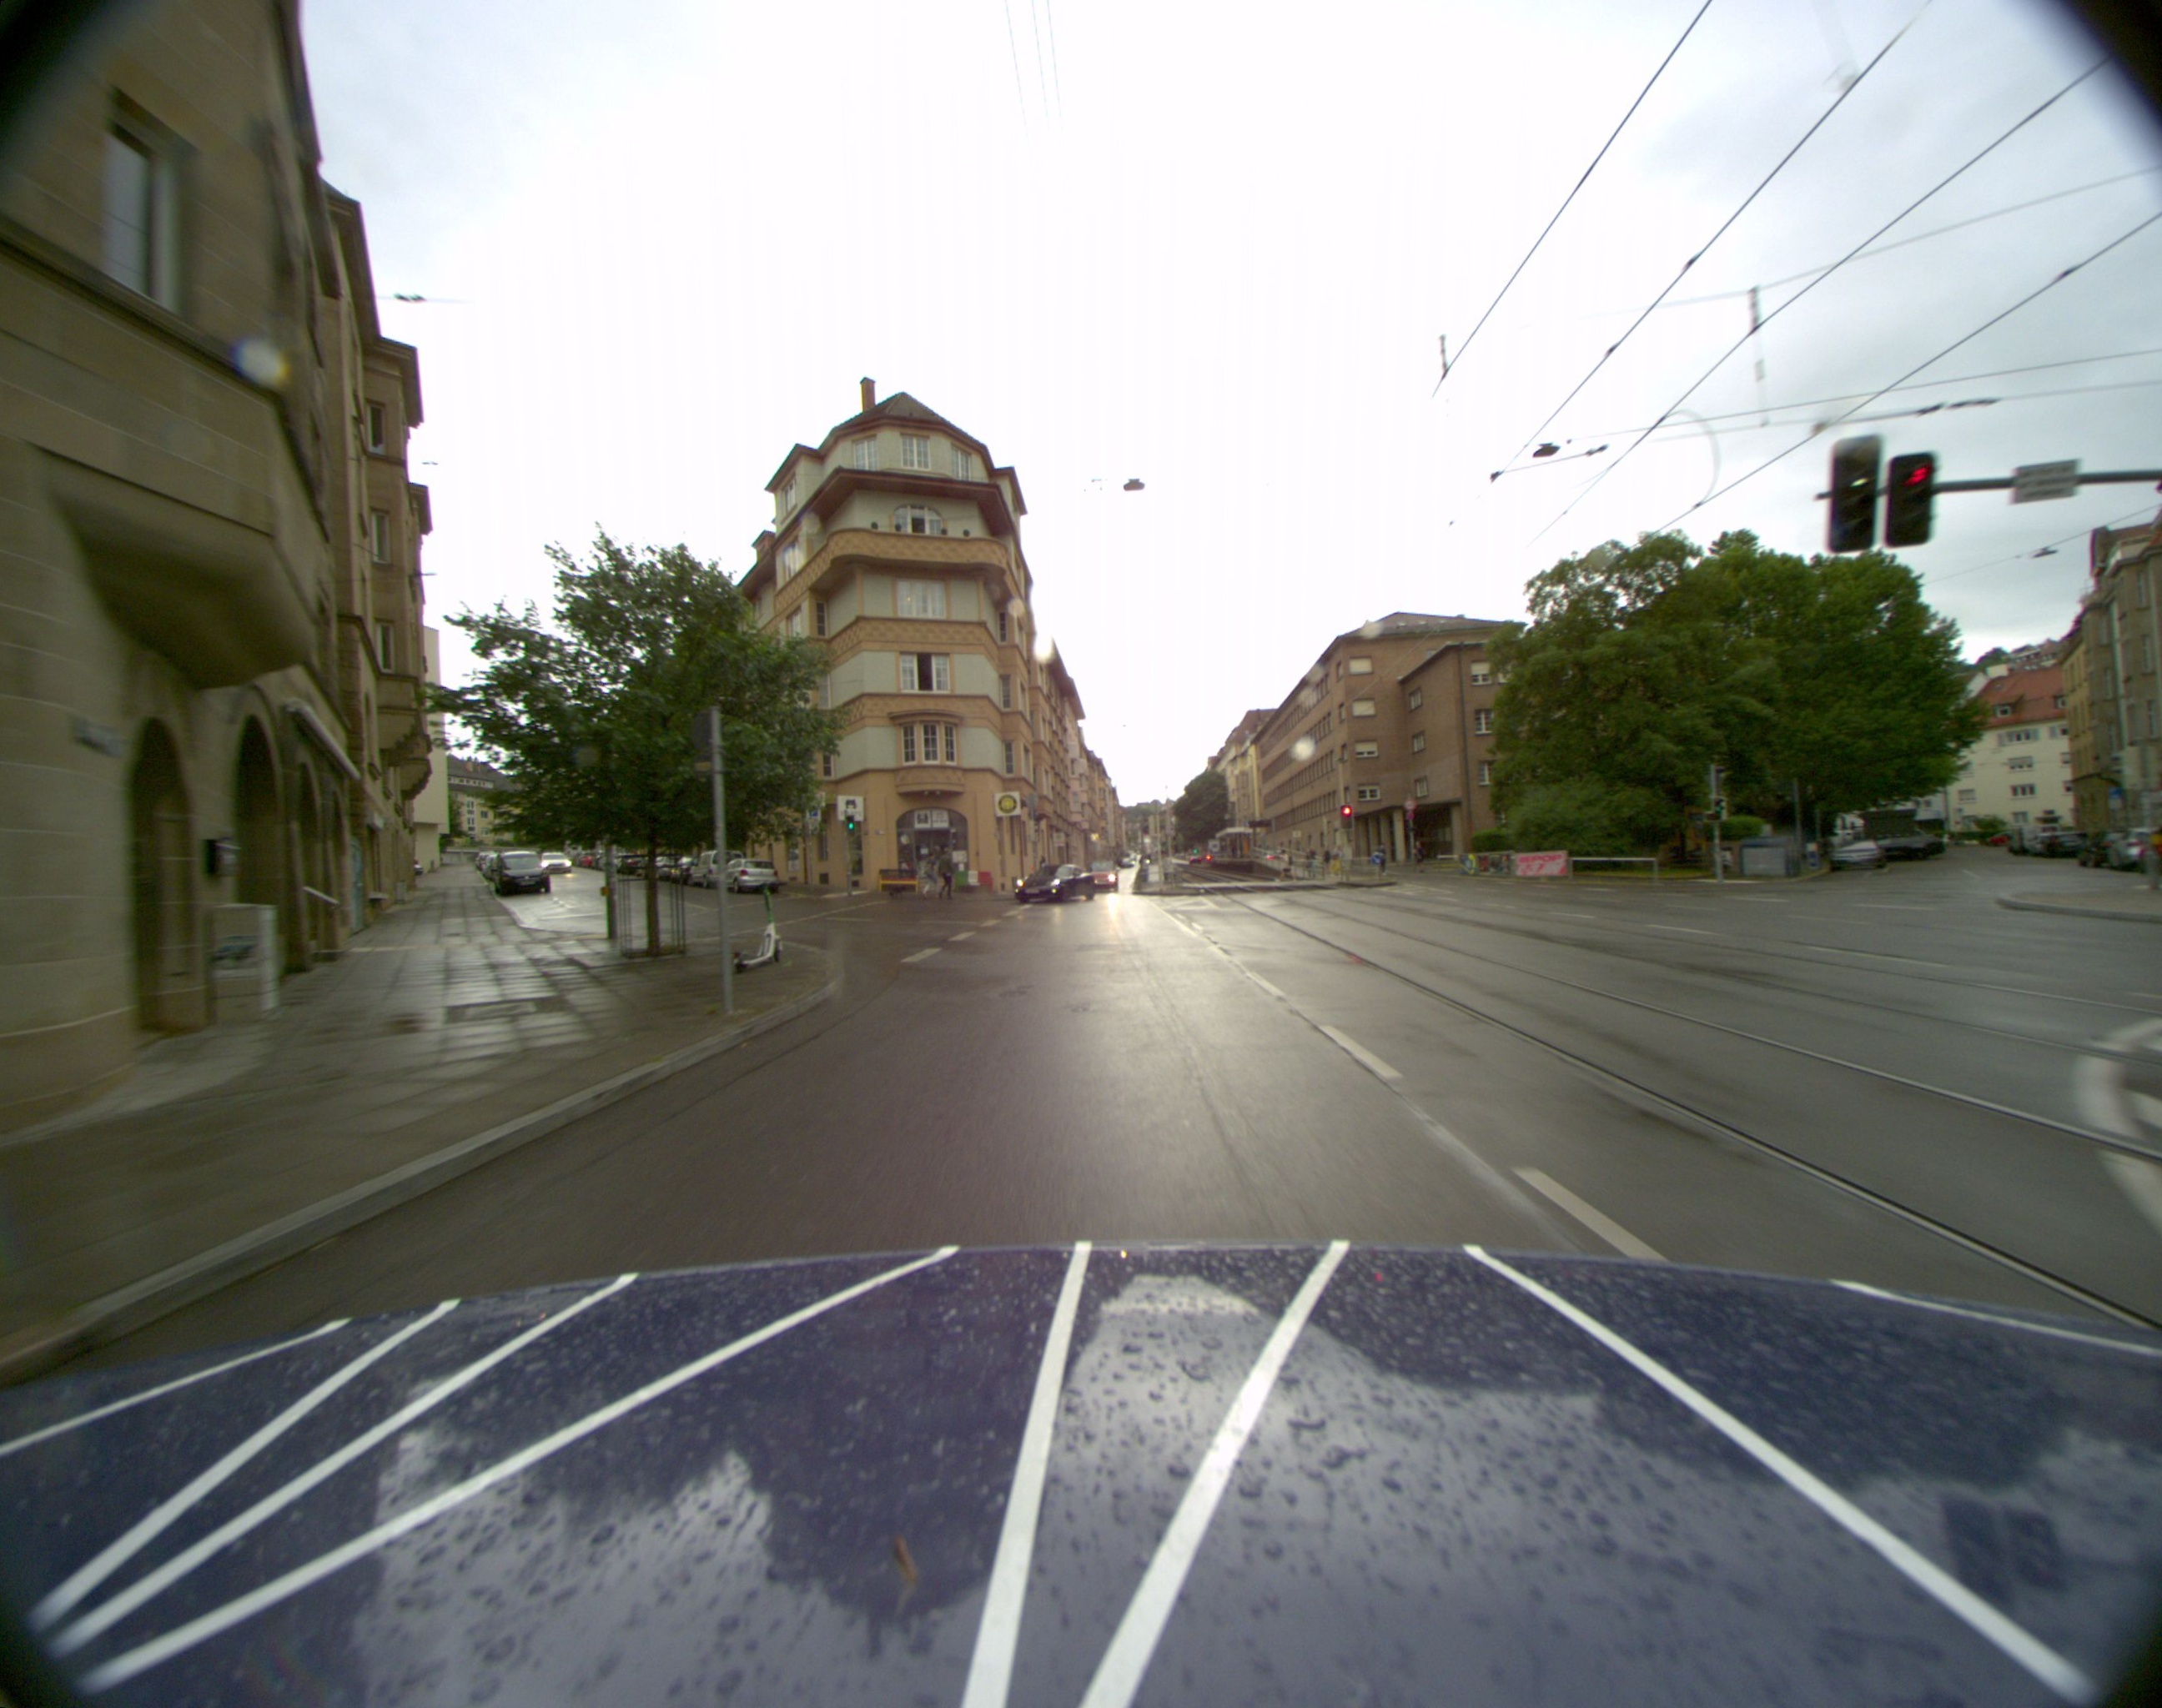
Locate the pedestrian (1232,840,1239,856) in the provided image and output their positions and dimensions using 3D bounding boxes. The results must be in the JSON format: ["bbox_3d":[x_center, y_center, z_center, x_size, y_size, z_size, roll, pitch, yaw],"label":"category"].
[{"bbox_3d":[16.135,-0.644,79.335,0.588,1.699,0.491,-1,0,4],"label":"pedestrian"}]

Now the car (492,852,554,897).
[{"bbox_3d":[-24.617,0.828,33.444,1.749,1.716,4.344,-6,4,-40],"label":"car"}]

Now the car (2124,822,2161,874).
[{"bbox_3d":[31.008,-0.216,21.196,4.008,1.395,1.737,-2,0,-43],"label":"car"}]

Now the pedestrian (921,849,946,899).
[{"bbox_3d":[-5.295,0.712,27.296,0.683,1.778,0.902,-1,1,1],"label":"pedestrian"}]

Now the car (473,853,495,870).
[{"bbox_3d":[-75.033,0.970,95.570,2.004,2.002,3.990,-1,0,-36],"label":"car"}]

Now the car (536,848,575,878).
[{"bbox_3d":[-37.384,0.620,54.023,1.749,1.862,3.989,-8,5,-39],"label":"car"}]

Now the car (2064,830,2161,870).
[{"bbox_3d":[39.348,-0.170,29.036,4.152,1.395,1.737,-2,0,-43],"label":"car"}]

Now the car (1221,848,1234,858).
[{"bbox_3d":[22.172,-0.200,115.423,1.648,1.457,3.112,-3,0,6],"label":"car"}]

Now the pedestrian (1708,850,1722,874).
[{"bbox_3d":[28.464,0.346,34.093,0.417,1.078,0.283,-1,1,29],"label":"pedestrian"}]

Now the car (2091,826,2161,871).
[{"bbox_3d":[34.940,-0.218,24.906,4.176,1.395,1.737,-2,0,-43],"label":"car"}]

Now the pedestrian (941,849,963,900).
[{"bbox_3d":[-4.622,0.725,27.232,0.595,1.778,0.891,-1,1,1],"label":"pedestrian"}]

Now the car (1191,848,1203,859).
[{"bbox_3d":[20.797,-0.086,136.374,1.998,2.002,4.001,-1,0,5],"label":"car"}]

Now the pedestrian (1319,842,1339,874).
[{"bbox_3d":[13.288,0.215,40.706,0.745,1.686,0.883,-4,1,3],"label":"pedestrian"}]

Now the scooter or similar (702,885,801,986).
[{"bbox_3d":[-4.450,1.059,10.387,0.639,1.203,1.553,-1,0,0],"label":"scooter or similar"}]

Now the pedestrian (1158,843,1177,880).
[{"bbox_3d":[4.810,0.407,42.190,0.899,2.002,0.948,-3,0,5],"label":"pedestrian"}]

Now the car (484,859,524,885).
[{"bbox_3d":[-35.175,1.087,46.290,1.750,1.501,3.989,-1,0,-39],"label":"car"}]

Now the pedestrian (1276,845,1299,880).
[{"bbox_3d":[9.677,0.398,35.631,0.695,1.573,0.955,-2,0,-10],"label":"pedestrian"}]

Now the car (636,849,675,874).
[{"bbox_3d":[-26.568,0.487,47.397,1.449,1.417,3.290,-5,3,-40],"label":"car"}]

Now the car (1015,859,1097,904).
[{"bbox_3d":[-0.806,0.926,27.138,1.702,1.280,4.199,1,2,16],"label":"car"}]

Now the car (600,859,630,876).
[{"bbox_3d":[-35.846,1.028,58.445,1.449,1.166,3.275,-5,3,-40],"label":"car"}]

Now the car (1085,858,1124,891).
[{"bbox_3d":[1.187,0.975,36.948,1.689,1.451,3.300,-1,0,5],"label":"car"}]

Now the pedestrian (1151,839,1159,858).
[{"bbox_3d":[7.030,-0.551,71.845,0.645,1.764,0.711,-3,0,5],"label":"pedestrian"}]

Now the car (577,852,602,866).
[{"bbox_3d":[-45.326,0.461,70.048,1.449,1.166,3.275,-5,3,-40],"label":"car"}]

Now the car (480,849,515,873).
[{"bbox_3d":[-41.919,0.481,54.578,1.749,1.501,3.989,-8,4,-39],"label":"car"}]

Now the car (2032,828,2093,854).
[{"bbox_3d":[56.531,-0.745,43.830,4.008,1.395,1.737,-2,0,-43],"label":"car"}]

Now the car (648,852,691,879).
[{"bbox_3d":[-23.631,0.639,43.554,1.449,1.417,3.290,-5,3,-40],"label":"car"}]

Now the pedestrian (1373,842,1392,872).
[{"bbox_3d":[16.533,0.150,41.691,0.766,1.640,0.649,-1,1,4],"label":"pedestrian"}]

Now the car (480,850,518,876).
[{"bbox_3d":[-38.844,0.616,50.701,1.749,1.501,3.989,-8,4,-39],"label":"car"}]

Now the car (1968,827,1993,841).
[{"bbox_3d":[94.042,-2.124,79.441,3.708,1.395,1.567,-2,0,-39],"label":"car"}]

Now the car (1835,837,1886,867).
[{"bbox_3d":[39.049,-0.109,38.044,4.008,1.395,1.737,-2,0,-43],"label":"car"}]

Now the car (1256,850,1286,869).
[{"bbox_3d":[17.793,0.514,71.366,1.998,1.618,5.254,0,1,5],"label":"car"}]

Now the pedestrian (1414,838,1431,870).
[{"bbox_3d":[18.264,-0.003,40.657,0.605,1.665,0.689,-1,0,2],"label":"pedestrian"}]

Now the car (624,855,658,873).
[{"bbox_3d":[-29.816,0.685,51.466,1.449,1.119,3.069,-5,3,-40],"label":"car"}]

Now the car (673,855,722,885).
[{"bbox_3d":[-19.614,0.797,38.816,1.449,1.417,3.290,-3,1,-40],"label":"car"}]

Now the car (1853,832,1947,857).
[{"bbox_3d":[52.016,-0.603,48.312,1.746,1.469,3.989,-2,0,-41],"label":"car"}]

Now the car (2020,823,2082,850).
[{"bbox_3d":[60.826,-1.099,47.721,4.008,1.621,1.994,-2,0,-44],"label":"car"}]

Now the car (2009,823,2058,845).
[{"bbox_3d":[64.924,-1.327,51.830,4.008,1.395,1.737,-2,0,-43],"label":"car"}]

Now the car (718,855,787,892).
[{"bbox_3d":[-13.856,0.792,31.938,1.695,1.451,3.525,1,-1,-40],"label":"car"}]

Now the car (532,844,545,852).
[{"bbox_3d":[-89.205,-1.007,124.926,1.449,1.166,3.275,-5,3,-40],"label":"car"}]

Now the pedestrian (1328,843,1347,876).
[{"bbox_3d":[12.995,0.281,38.505,0.745,1.638,0.641,-3,2,5],"label":"pedestrian"}]

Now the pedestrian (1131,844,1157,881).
[{"bbox_3d":[3.505,0.451,42.383,0.949,2.002,0.927,-3,0,-39],"label":"pedestrian"}]

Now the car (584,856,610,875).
[{"bbox_3d":[-42.676,0.991,66.966,1.449,1.565,3.275,-5,3,-40],"label":"car"}]

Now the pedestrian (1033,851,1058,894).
[{"bbox_3d":[-1.543,0.788,33.329,0.967,1.830,0.903,1,1,5],"label":"pedestrian"}]

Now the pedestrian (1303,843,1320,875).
[{"bbox_3d":[12.482,0.280,41.117,0.666,1.689,0.688,-3,1,2],"label":"pedestrian"}]

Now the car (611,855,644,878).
[{"bbox_3d":[-32.915,0.881,55.107,1.449,1.565,3.275,-5,3,-40],"label":"car"}]

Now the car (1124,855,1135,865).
[{"bbox_3d":[8.278,1.016,129.849,1.632,1.443,4.002,-3,0,6],"label":"car"}]

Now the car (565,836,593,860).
[{"bbox_3d":[-51.935,-0.593,78.566,1.954,2.443,3.802,-1,0,-40],"label":"car"}]

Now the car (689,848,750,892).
[{"bbox_3d":[-17.011,0.726,35.670,1.608,1.834,3.545,-5,3,-40],"label":"car"}]
